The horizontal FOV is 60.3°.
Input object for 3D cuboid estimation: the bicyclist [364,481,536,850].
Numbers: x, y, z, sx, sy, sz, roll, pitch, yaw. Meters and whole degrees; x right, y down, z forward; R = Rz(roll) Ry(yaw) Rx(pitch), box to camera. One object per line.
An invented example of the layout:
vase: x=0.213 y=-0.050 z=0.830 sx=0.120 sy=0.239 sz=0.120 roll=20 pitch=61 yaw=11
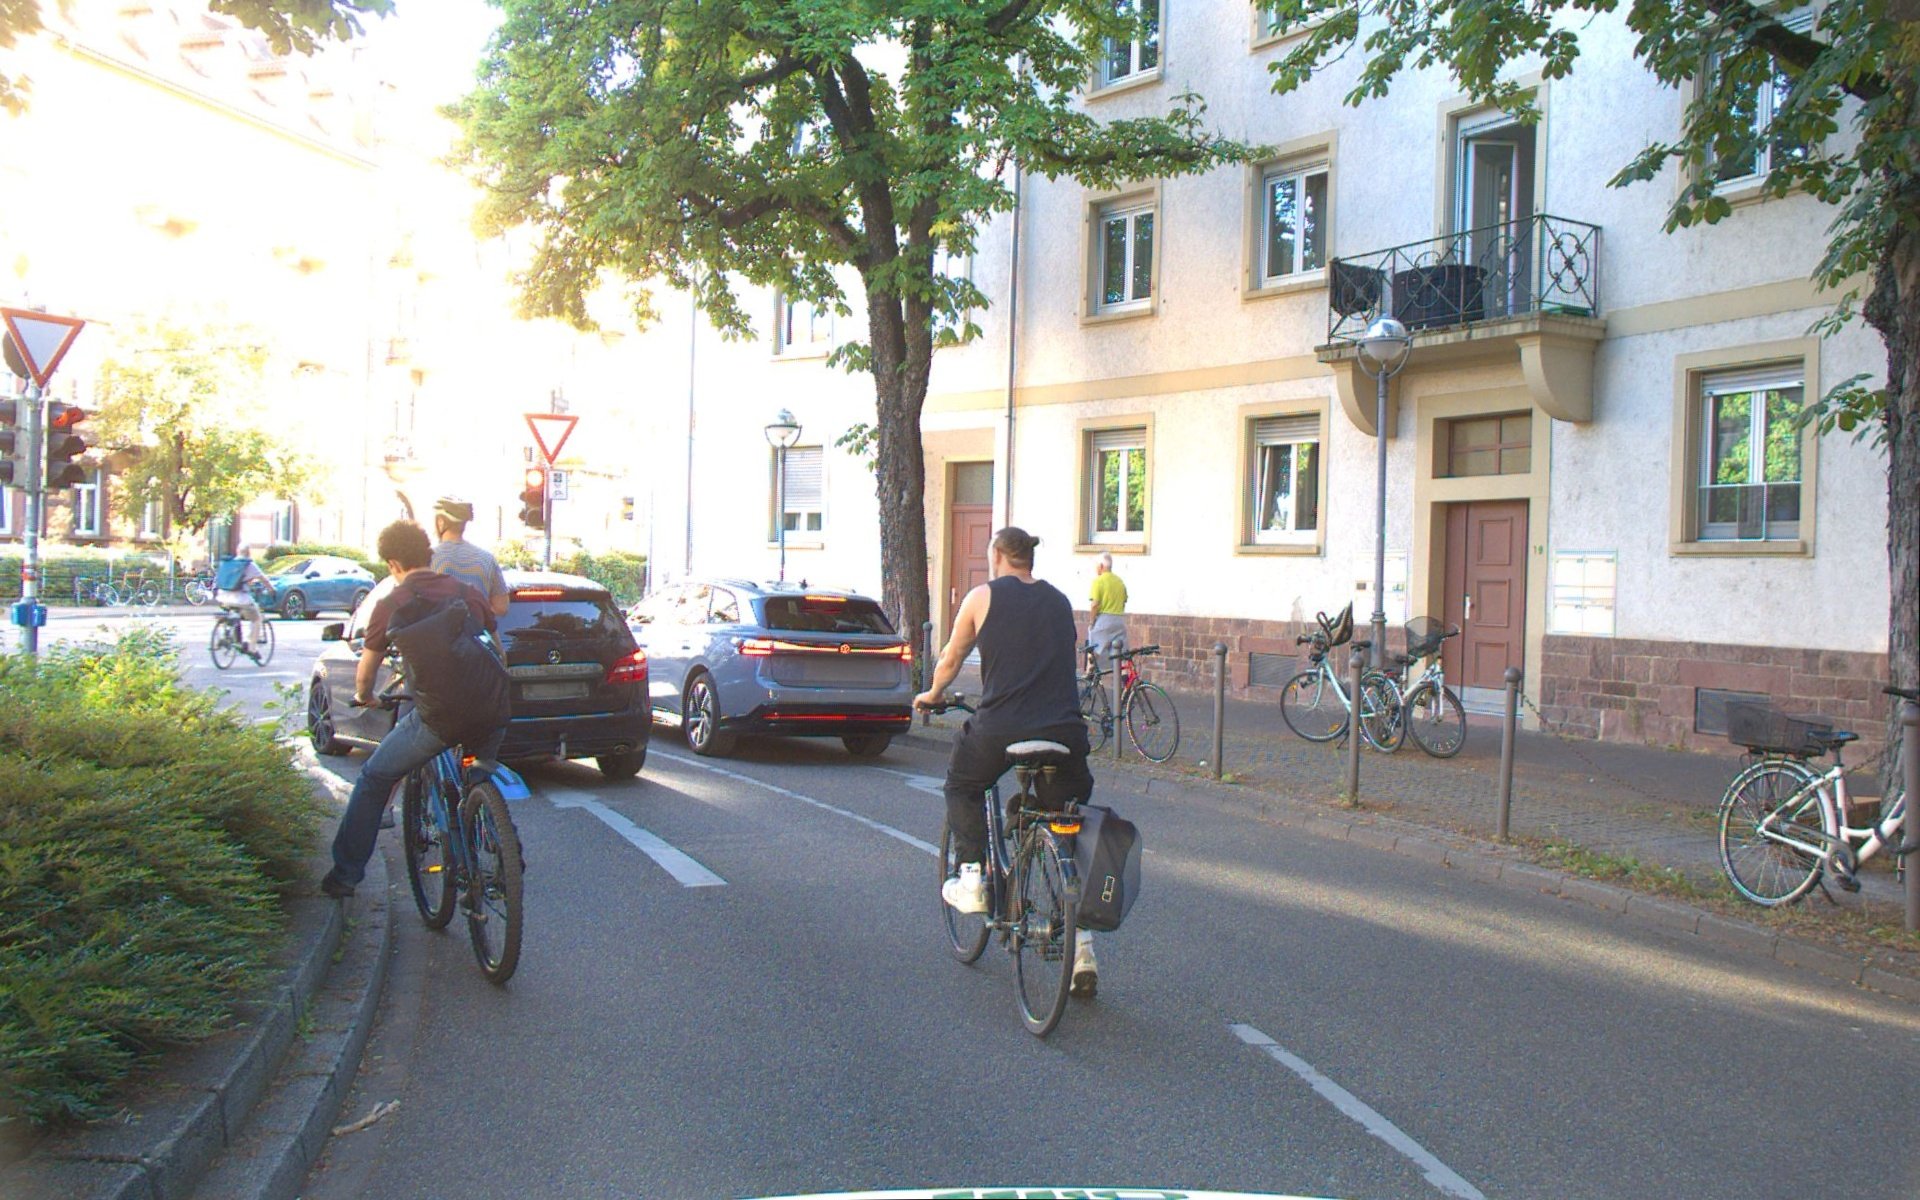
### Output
bicyclist: x=-2.890 y=0.347 z=9.328 sx=0.783 sy=1.946 sz=0.938 roll=2 pitch=0 yaw=-23

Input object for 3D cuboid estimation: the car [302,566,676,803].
car: x=-3.850 y=0.518 z=13.093 sx=1.774 sy=1.569 sz=3.814 roll=-1 pitch=1 yaw=-34

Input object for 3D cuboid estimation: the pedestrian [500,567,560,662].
pedestrian: x=-7.913 y=0.256 z=30.425 sx=0.889 sy=1.663 sz=0.721 roll=3 pitch=1 yaw=-21

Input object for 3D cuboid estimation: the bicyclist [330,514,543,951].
bicyclist: x=-2.058 y=0.489 z=6.613 sx=0.695 sy=1.601 sz=0.953 roll=2 pitch=0 yaw=-14

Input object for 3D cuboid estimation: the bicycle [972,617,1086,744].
bicycle: x=0.643 y=0.745 z=15.991 sx=0.474 sy=1.082 sz=1.625 roll=-1 pitch=2 yaw=-22

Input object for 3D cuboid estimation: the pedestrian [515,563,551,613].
pedestrian: x=-15.158 y=-0.420 z=58.697 sx=0.698 sy=1.693 sz=0.895 roll=5 pitch=2 yaw=33

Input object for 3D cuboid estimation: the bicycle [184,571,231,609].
bicycle: x=-21.462 y=-0.279 z=47.169 sx=0.433 sy=1.056 sz=1.234 roll=3 pitch=1 yaw=21

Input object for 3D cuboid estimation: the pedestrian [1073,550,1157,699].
pedestrian: x=1.880 y=0.271 z=20.110 sx=0.635 sy=1.757 sz=0.880 roll=-1 pitch=2 yaw=-27

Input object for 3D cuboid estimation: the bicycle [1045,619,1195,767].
bicycle: x=1.366 y=0.770 z=14.440 sx=0.519 sy=1.126 sz=1.728 roll=-1 pitch=2 yaw=-24

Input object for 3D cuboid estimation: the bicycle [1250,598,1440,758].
bicycle: x=3.425 y=0.655 z=14.918 sx=0.707 sy=1.299 sz=1.955 roll=0 pitch=1 yaw=-21

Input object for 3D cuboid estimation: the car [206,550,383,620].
car: x=-17.201 y=-0.382 z=43.017 sx=1.901 sy=1.678 sz=4.413 roll=2 pitch=1 yaw=17

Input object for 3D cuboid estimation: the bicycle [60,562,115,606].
bicycle: x=-22.902 y=-0.407 z=43.428 sx=0.433 sy=1.126 sz=1.233 roll=3 pitch=1 yaw=22

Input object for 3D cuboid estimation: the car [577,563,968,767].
car: x=-1.947 y=0.538 z=15.742 sx=1.951 sy=1.613 sz=4.427 roll=4 pitch=-1 yaw=-32

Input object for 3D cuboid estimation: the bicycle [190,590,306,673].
bicycle: x=-10.274 y=0.432 z=23.941 sx=0.523 sy=1.126 sz=1.968 roll=2 pitch=0 yaw=10

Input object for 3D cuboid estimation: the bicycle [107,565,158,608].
bicycle: x=-22.360 y=-0.357 z=44.721 sx=0.433 sy=1.126 sz=1.233 roll=3 pitch=1 yaw=22

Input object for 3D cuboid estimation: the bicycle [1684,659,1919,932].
bicycle: x=4.293 y=0.882 z=7.665 sx=0.505 sy=1.114 sz=1.962 roll=0 pitch=1 yaw=-20

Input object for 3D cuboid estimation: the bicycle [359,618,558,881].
bicycle: x=-2.837 y=0.744 z=9.190 sx=0.799 sy=1.205 sz=2.211 roll=2 pitch=1 yaw=-23

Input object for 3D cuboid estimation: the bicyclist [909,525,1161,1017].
bicyclist: x=0.253 y=0.579 z=6.228 sx=0.675 sy=1.685 sz=0.985 roll=0 pitch=1 yaw=-15

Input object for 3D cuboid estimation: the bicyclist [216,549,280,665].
bicyclist: x=-10.278 y=0.095 z=23.894 sx=0.517 sy=1.626 sz=0.675 roll=2 pitch=0 yaw=10

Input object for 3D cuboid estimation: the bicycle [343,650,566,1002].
bicycle: x=-1.997 y=0.823 z=6.765 sx=0.705 sy=1.126 sz=1.960 roll=2 pitch=0 yaw=-13

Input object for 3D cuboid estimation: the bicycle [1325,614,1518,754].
bicycle: x=4.122 y=0.726 z=14.945 sx=0.657 sy=1.126 sz=1.956 roll=2 pitch=0 yaw=-19
